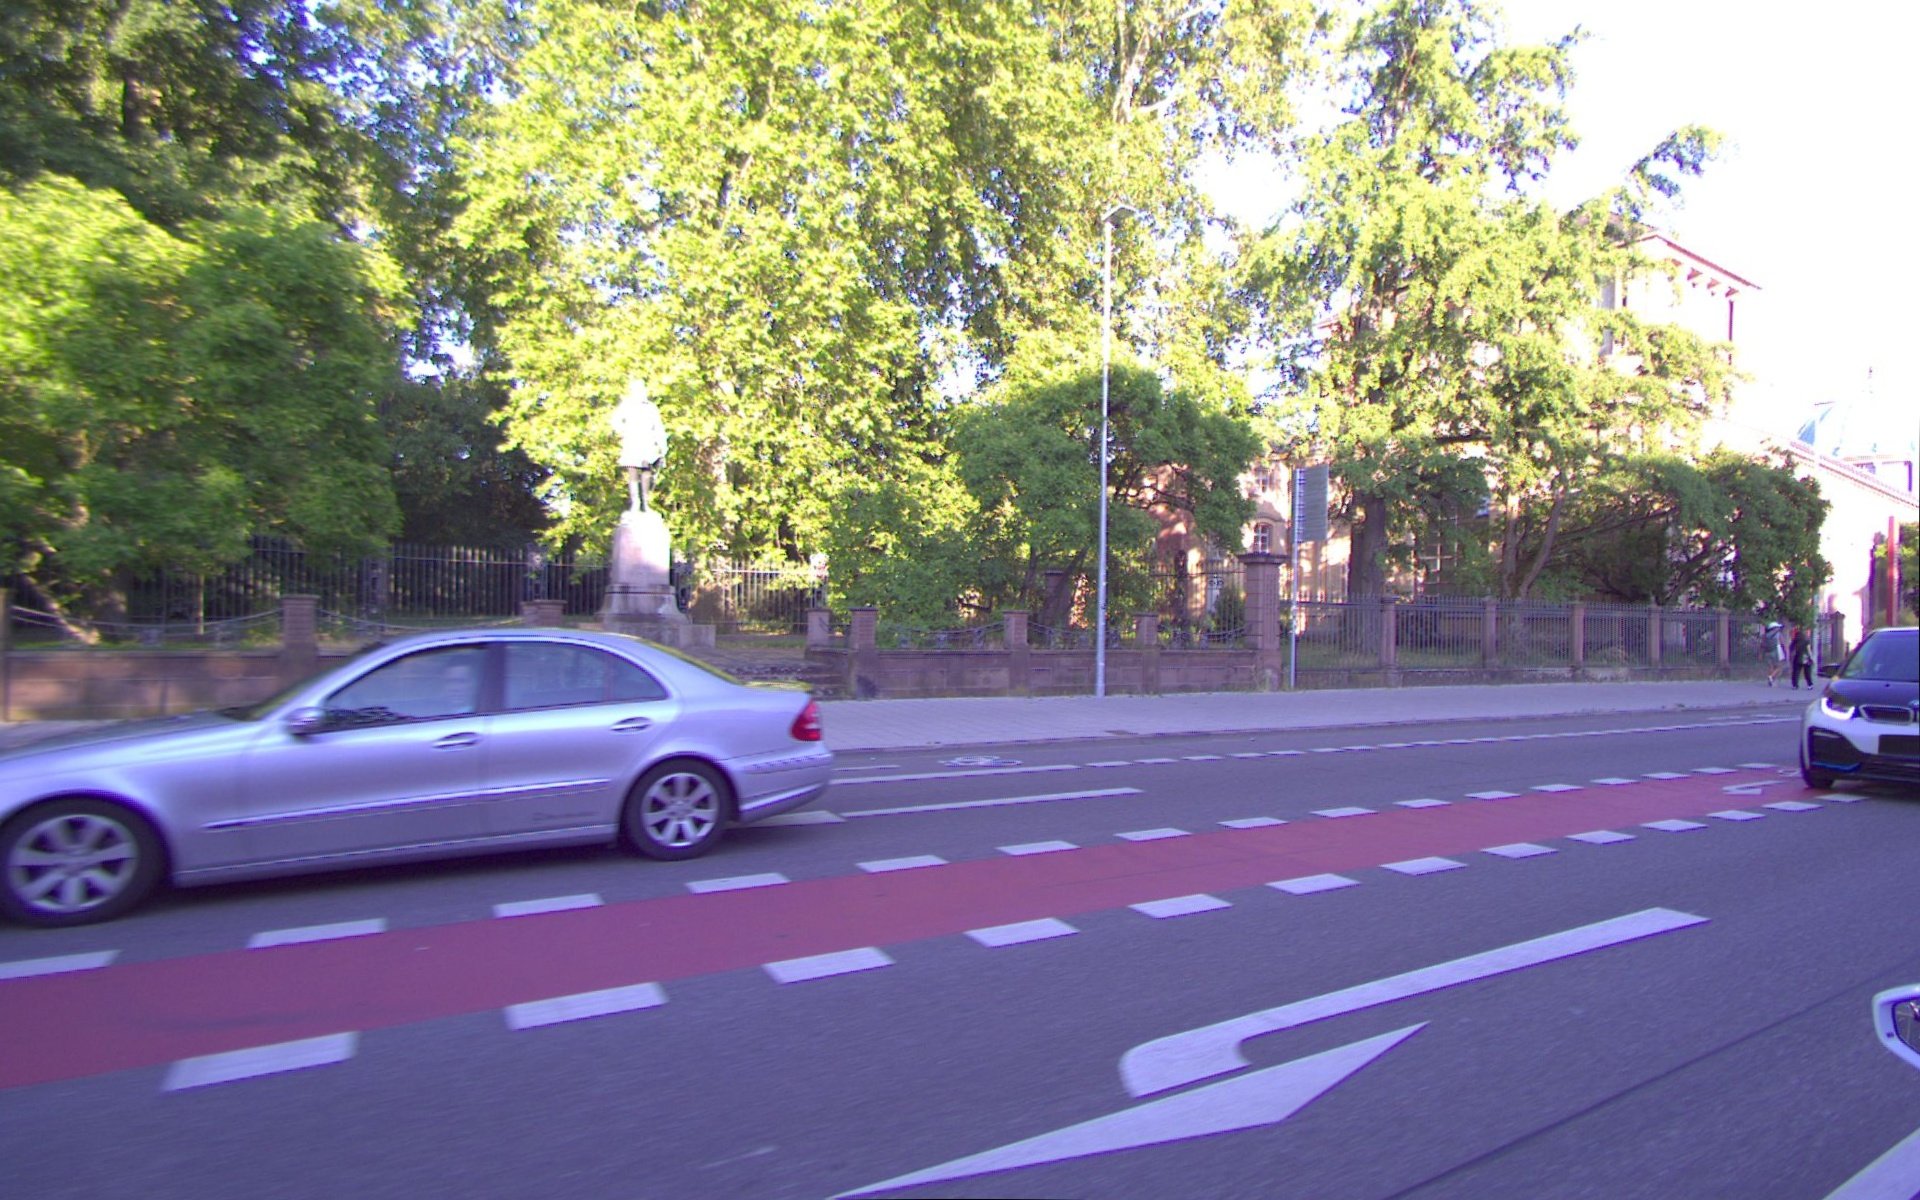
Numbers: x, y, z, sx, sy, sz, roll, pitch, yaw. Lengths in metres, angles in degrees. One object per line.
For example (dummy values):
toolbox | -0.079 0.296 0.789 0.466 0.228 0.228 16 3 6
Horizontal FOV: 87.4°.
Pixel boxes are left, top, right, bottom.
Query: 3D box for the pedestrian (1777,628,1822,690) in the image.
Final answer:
pedestrian | 22.482 1.569 26.904 0.677 1.644 0.680 1 0 -18

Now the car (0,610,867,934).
car | -3.115 0.840 6.249 4.713 1.436 1.908 1 -3 -30

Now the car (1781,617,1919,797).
car | 9.787 0.965 9.850 3.964 1.546 1.835 2 -2 -38

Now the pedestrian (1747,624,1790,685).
pedestrian | 22.239 1.492 27.631 0.679 1.644 0.679 1 0 -25
